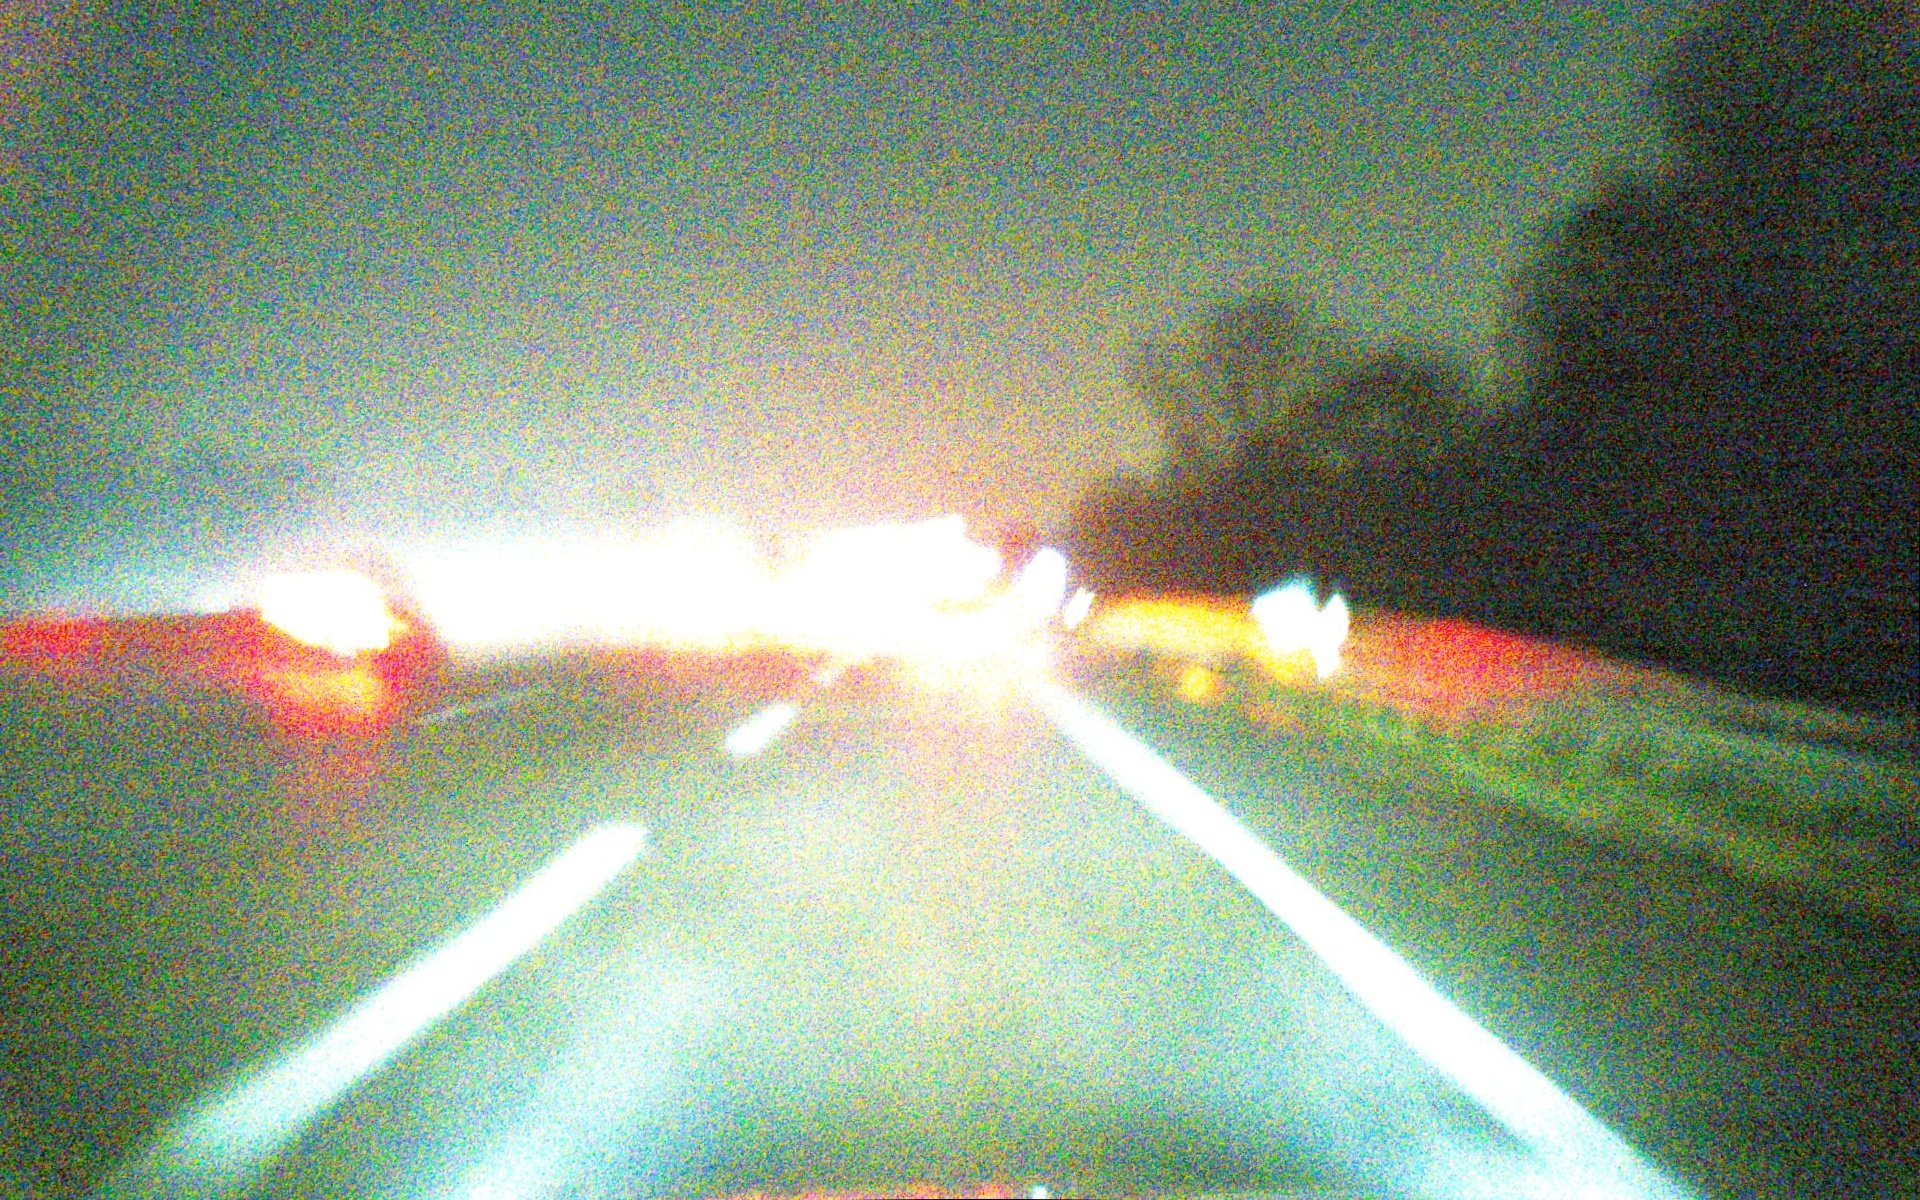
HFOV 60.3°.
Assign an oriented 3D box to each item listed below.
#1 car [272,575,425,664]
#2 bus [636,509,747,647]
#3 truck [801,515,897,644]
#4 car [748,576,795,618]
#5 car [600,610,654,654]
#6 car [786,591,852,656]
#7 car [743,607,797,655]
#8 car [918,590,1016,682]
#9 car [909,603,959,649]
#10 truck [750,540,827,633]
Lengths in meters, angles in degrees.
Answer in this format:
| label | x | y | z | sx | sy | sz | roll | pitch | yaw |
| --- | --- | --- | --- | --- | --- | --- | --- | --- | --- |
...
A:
| label | x | y | z | sx | sy | sz | roll | pitch | yaw |
| --- | --- | --- | --- | --- | --- | --- | --- | --- | --- |
| car | -12.030 | 0.369 | 32.795 | 1.956 | 1.624 | 3.993 | 1 | 0 | -8 |
| bus | -9.736 | -0.699 | 61.130 | 3.036 | 4.587 | 10.902 | 1 | 0 | -4 |
| truck | -5.178 | -0.892 | 79.942 | 4.125 | 5.747 | 11.463 | 1 | 0 | -2 |
| car | -8.643 | -0.119 | 76.092 | 1.954 | 1.839 | 3.996 | 1 | 0 | -4 |
| car | -13.303 | 1.251 | 66.270 | 1.661 | 1.679 | 3.836 | 1 | 0 | -5 |
| car | -4.705 | 0.767 | 55.802 | 2.084 | 2.049 | 4.642 | 1 | 0 | -3 |
| car | -7.647 | 1.240 | 66.932 | 1.954 | 1.839 | 3.996 | 1 | 0 | -4 |
| car | 0.098 | 0.744 | 35.554 | 1.953 | 1.839 | 3.999 | 1 | 0 | -1 |
| car | -1.234 | 1.181 | 76.873 | 2.084 | 2.049 | 4.642 | 1 | 0 | -3 |
| truck | -11.197 | -0.841 | 109.155 | 4.125 | 5.747 | 11.463 | 1 | 0 | -2 |
